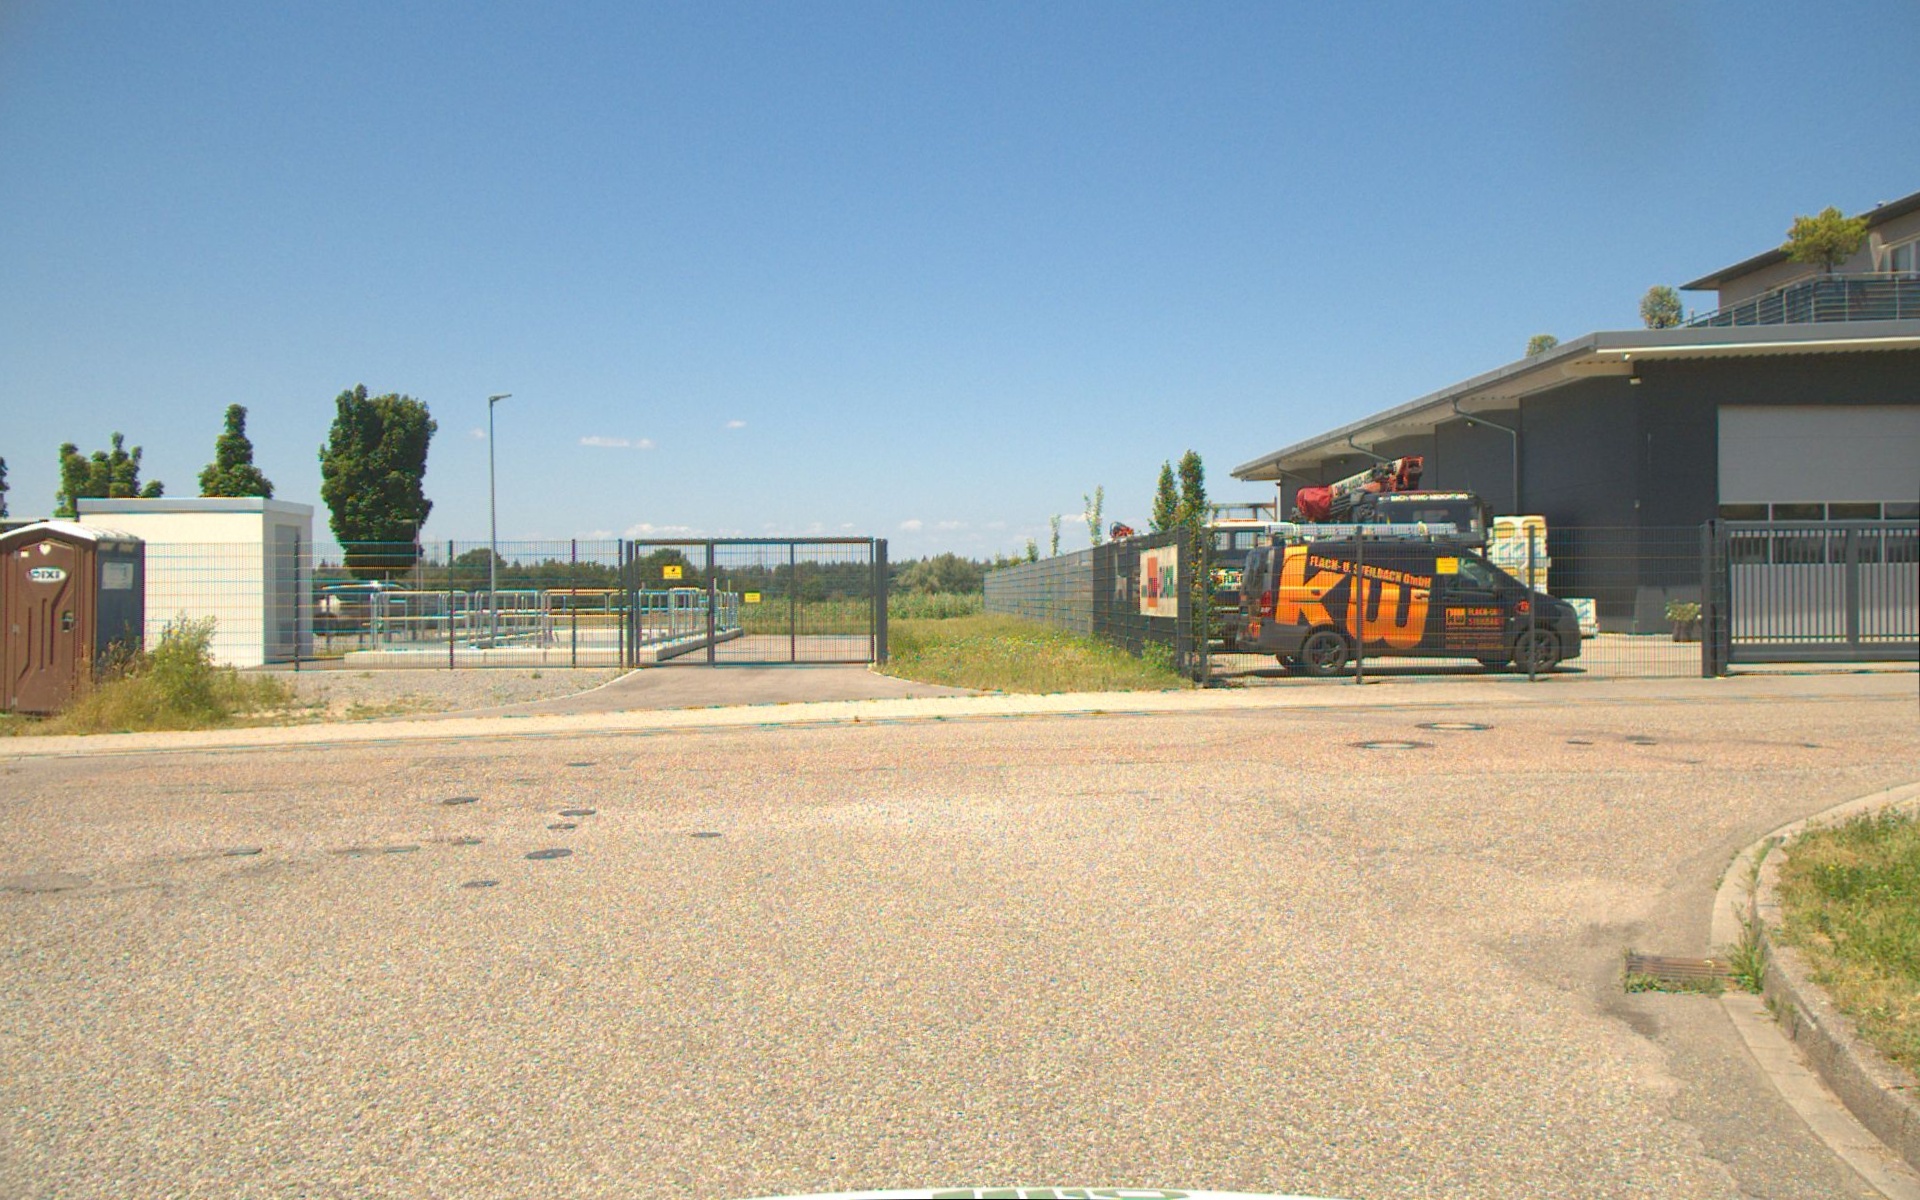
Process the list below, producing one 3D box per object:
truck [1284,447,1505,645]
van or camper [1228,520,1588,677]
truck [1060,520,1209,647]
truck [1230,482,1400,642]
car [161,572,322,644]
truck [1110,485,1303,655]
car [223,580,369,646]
[{"bbox_3d":[9.535,-1.114,37.160,2.863,3.998,6.932,-1,0,-2],"label":"truck"},{"bbox_3d":[6.631,-0.050,24.822,4.837,2.201,1.999,-1,1,-3],"label":"van or camper"},{"bbox_3d":[4.375,-0.401,42.983,2.863,2.989,6.932,-1,0,-2],"label":"truck"},{"bbox_3d":[9.489,-0.962,44.996,2.863,3.998,6.932,-1,0,-2],"label":"truck"},{"bbox_3d":[-21.488,0.233,49.573,3.906,2.049,1.999,-1,0,-2],"label":"car"},{"bbox_3d":[4.890,-0.569,34.115,2.672,3.115,6.932,-1,0,-2],"label":"truck"},{"bbox_3d":[-21.489,0.415,53.626,3.906,2.049,1.999,-1,0,-2],"label":"car"}]
